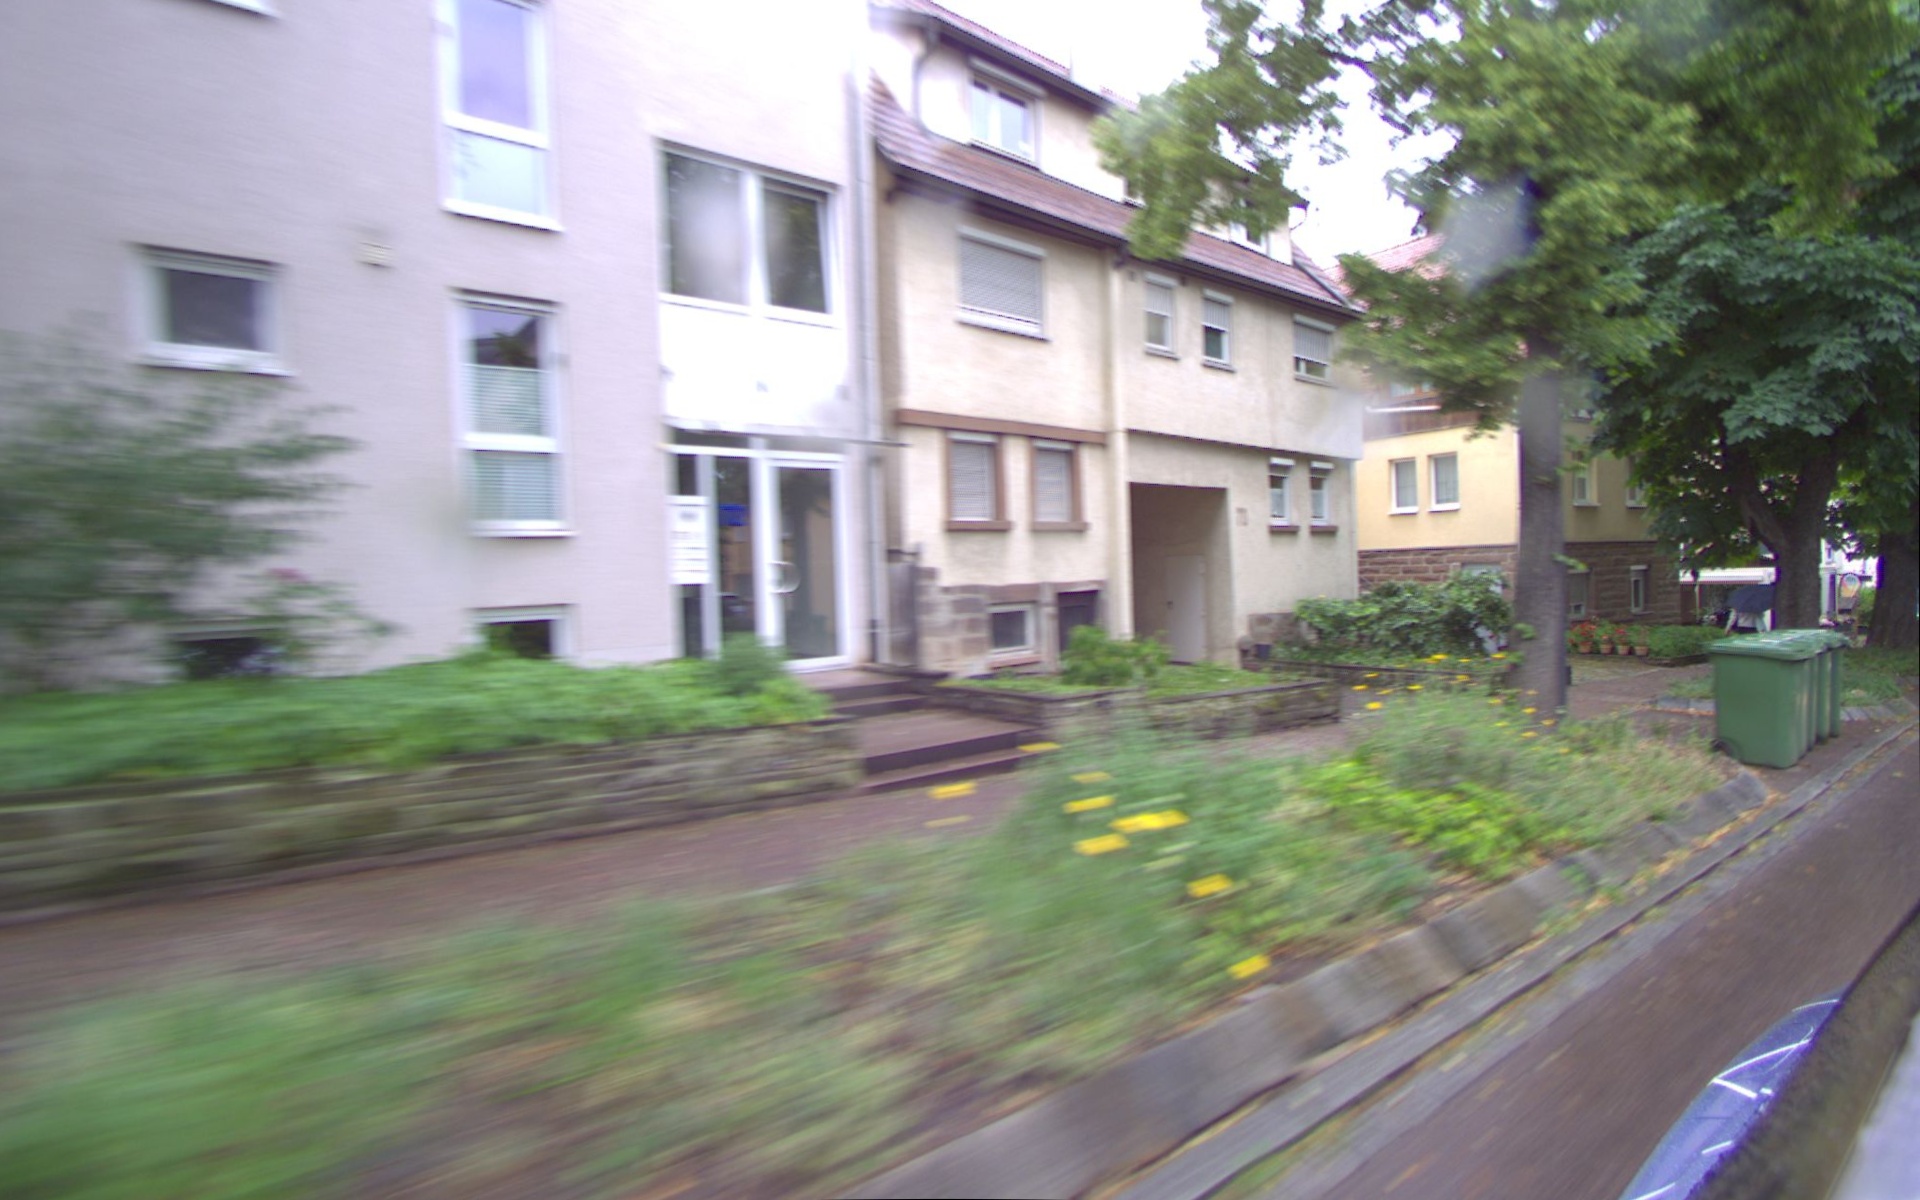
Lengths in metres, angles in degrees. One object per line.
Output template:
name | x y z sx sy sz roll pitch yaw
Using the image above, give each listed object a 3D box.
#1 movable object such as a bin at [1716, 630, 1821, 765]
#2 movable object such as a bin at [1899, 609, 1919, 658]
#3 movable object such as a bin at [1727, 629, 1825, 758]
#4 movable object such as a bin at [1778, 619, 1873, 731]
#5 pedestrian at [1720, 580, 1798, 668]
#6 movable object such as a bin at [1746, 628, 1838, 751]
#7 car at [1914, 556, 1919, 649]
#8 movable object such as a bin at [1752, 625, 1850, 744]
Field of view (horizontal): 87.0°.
movable object such as a bin | 7.017 0.818 8.789 0.532 1.096 0.644 0 -1 -44
movable object such as a bin | 22.064 0.754 23.166 0.863 1.089 0.749 0 -1 -41
movable object such as a bin | 7.432 0.828 9.219 0.464 1.096 0.631 0 -1 -44
movable object such as a bin | 8.927 0.748 10.443 0.532 1.096 0.688 0 -1 -44
pedestrian | 15.667 0.451 19.849 0.778 1.672 0.959 0 1 -27
movable object such as a bin | 7.860 0.821 9.566 0.504 1.096 0.610 0 -1 -44
car | 28.304 0.036 28.045 5.340 2.491 2.144 0 0 -41
movable object such as a bin | 8.315 0.810 10.008 0.532 1.096 0.688 0 0 -44
